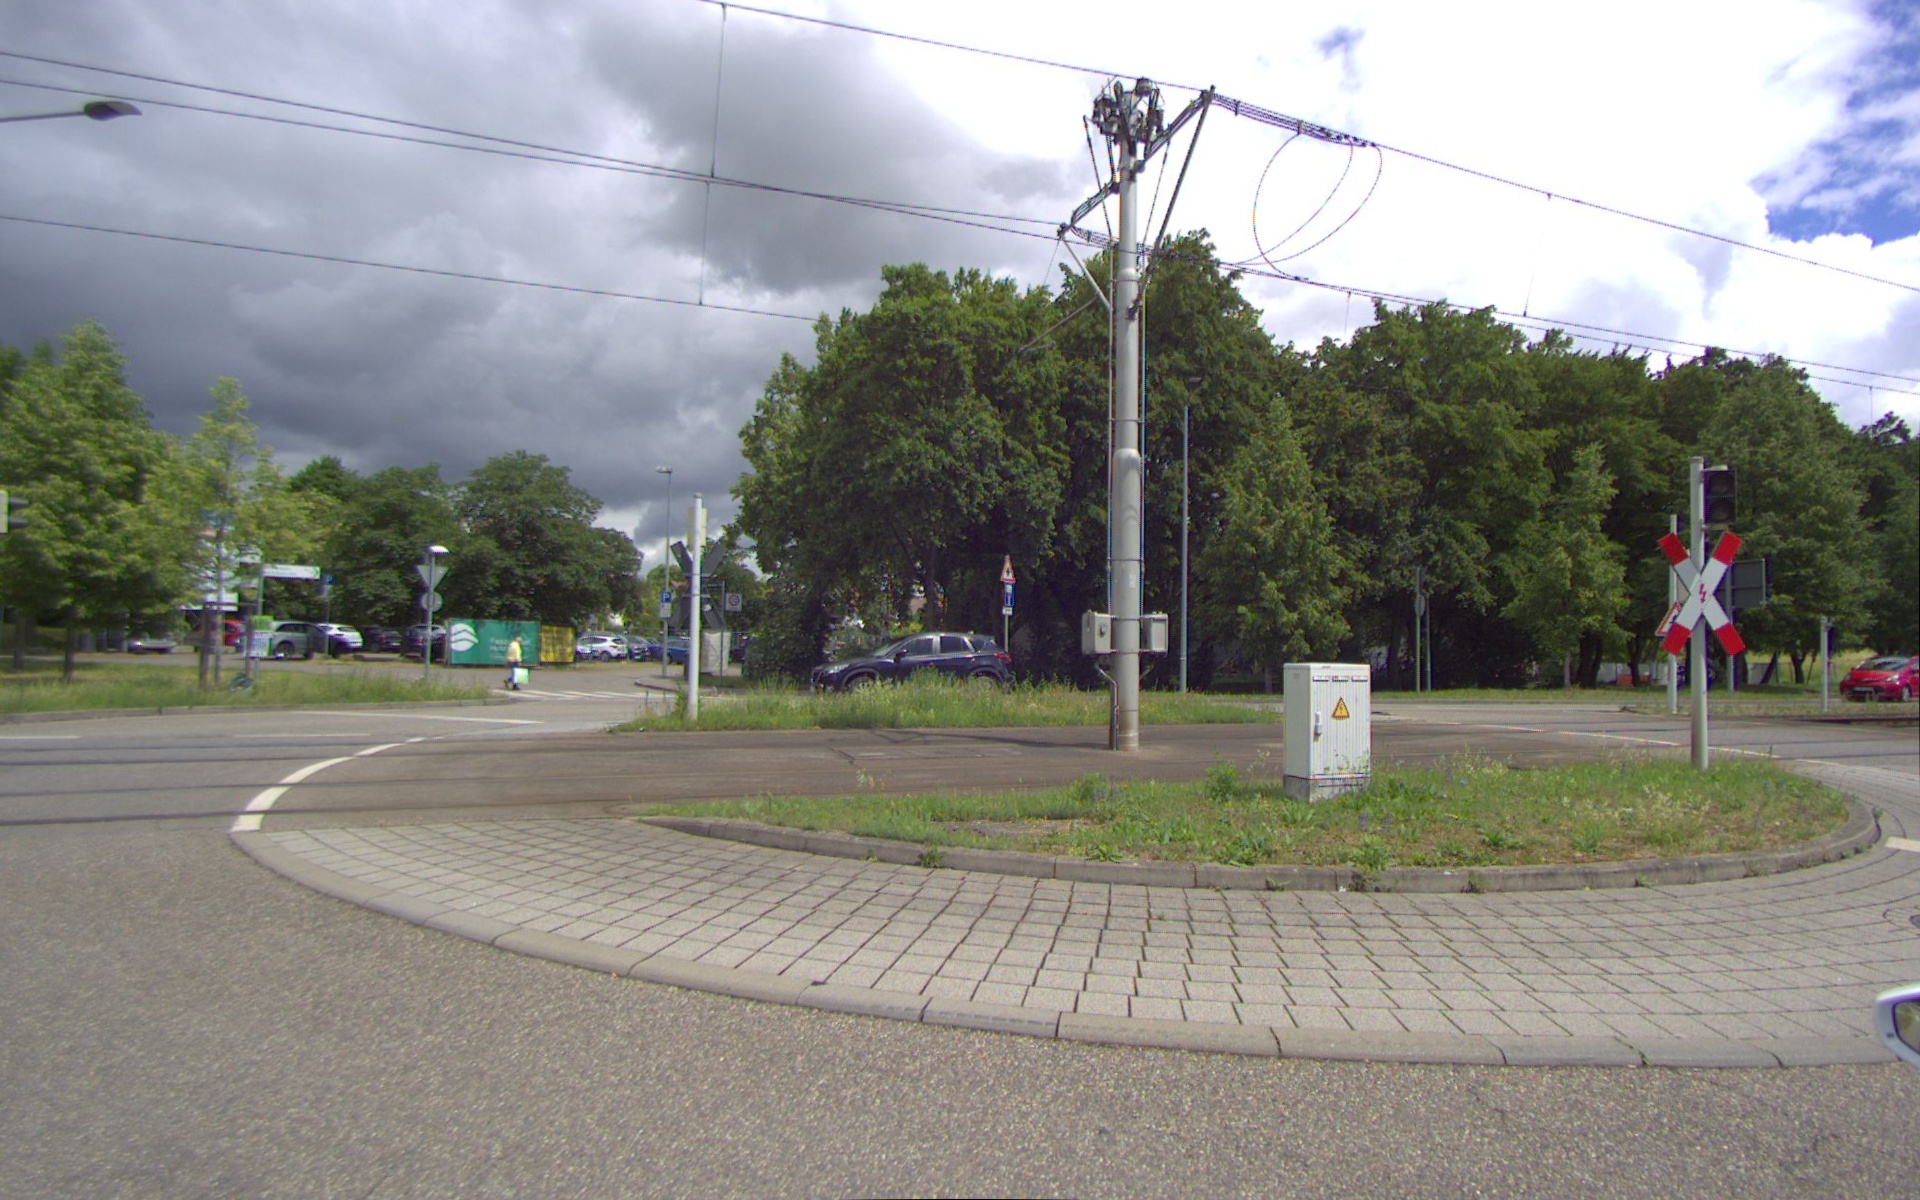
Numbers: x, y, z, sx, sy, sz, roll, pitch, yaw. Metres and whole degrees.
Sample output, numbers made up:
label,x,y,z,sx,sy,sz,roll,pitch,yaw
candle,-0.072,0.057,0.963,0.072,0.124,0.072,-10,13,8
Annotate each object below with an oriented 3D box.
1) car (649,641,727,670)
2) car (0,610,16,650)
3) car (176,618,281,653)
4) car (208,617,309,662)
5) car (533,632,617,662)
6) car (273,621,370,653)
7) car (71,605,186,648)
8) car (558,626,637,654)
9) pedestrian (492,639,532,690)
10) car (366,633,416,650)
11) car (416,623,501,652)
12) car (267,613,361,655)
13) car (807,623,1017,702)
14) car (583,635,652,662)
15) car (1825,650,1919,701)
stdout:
label,x,y,z,sx,sy,sz,roll,pitch,yaw
car,-15.588,3.171,57.655,3.919,1.439,1.608,2,-1,10
car,-39.474,1.154,39.690,1.603,1.610,3.608,2,-4,-16
car,-35.052,1.717,48.218,3.513,1.610,2.001,1,-3,1
car,-29.636,1.670,42.436,3.518,1.610,1.998,3,-2,27
car,-21.025,2.548,54.918,3.919,1.439,1.760,2,-1,11
car,-33.881,1.964,53.347,3.919,1.612,2.002,0,-3,8
car,-35.340,1.130,42.711,3.921,1.706,2.000,0,-2,20
car,-20.818,2.296,57.747,3.919,1.439,1.760,2,-1,11
pedestrian,-13.715,1.963,30.765,0.883,1.476,0.748,1,-1,37
car,-31.463,2.320,55.559,1.104,0.880,2.250,0,-4,15
car,-29.003,2.191,58.195,1.964,1.617,3.995,0,-3,28
car,-28.959,1.535,45.040,3.518,1.610,1.998,3,-2,27
car,-1.077,1.379,21.976,4.257,1.606,1.853,2,-3,-18
car,-20.279,2.848,59.472,3.518,1.439,1.487,2,-1,8
car,30.043,2.452,32.463,3.606,1.470,1.611,3,-1,-20
